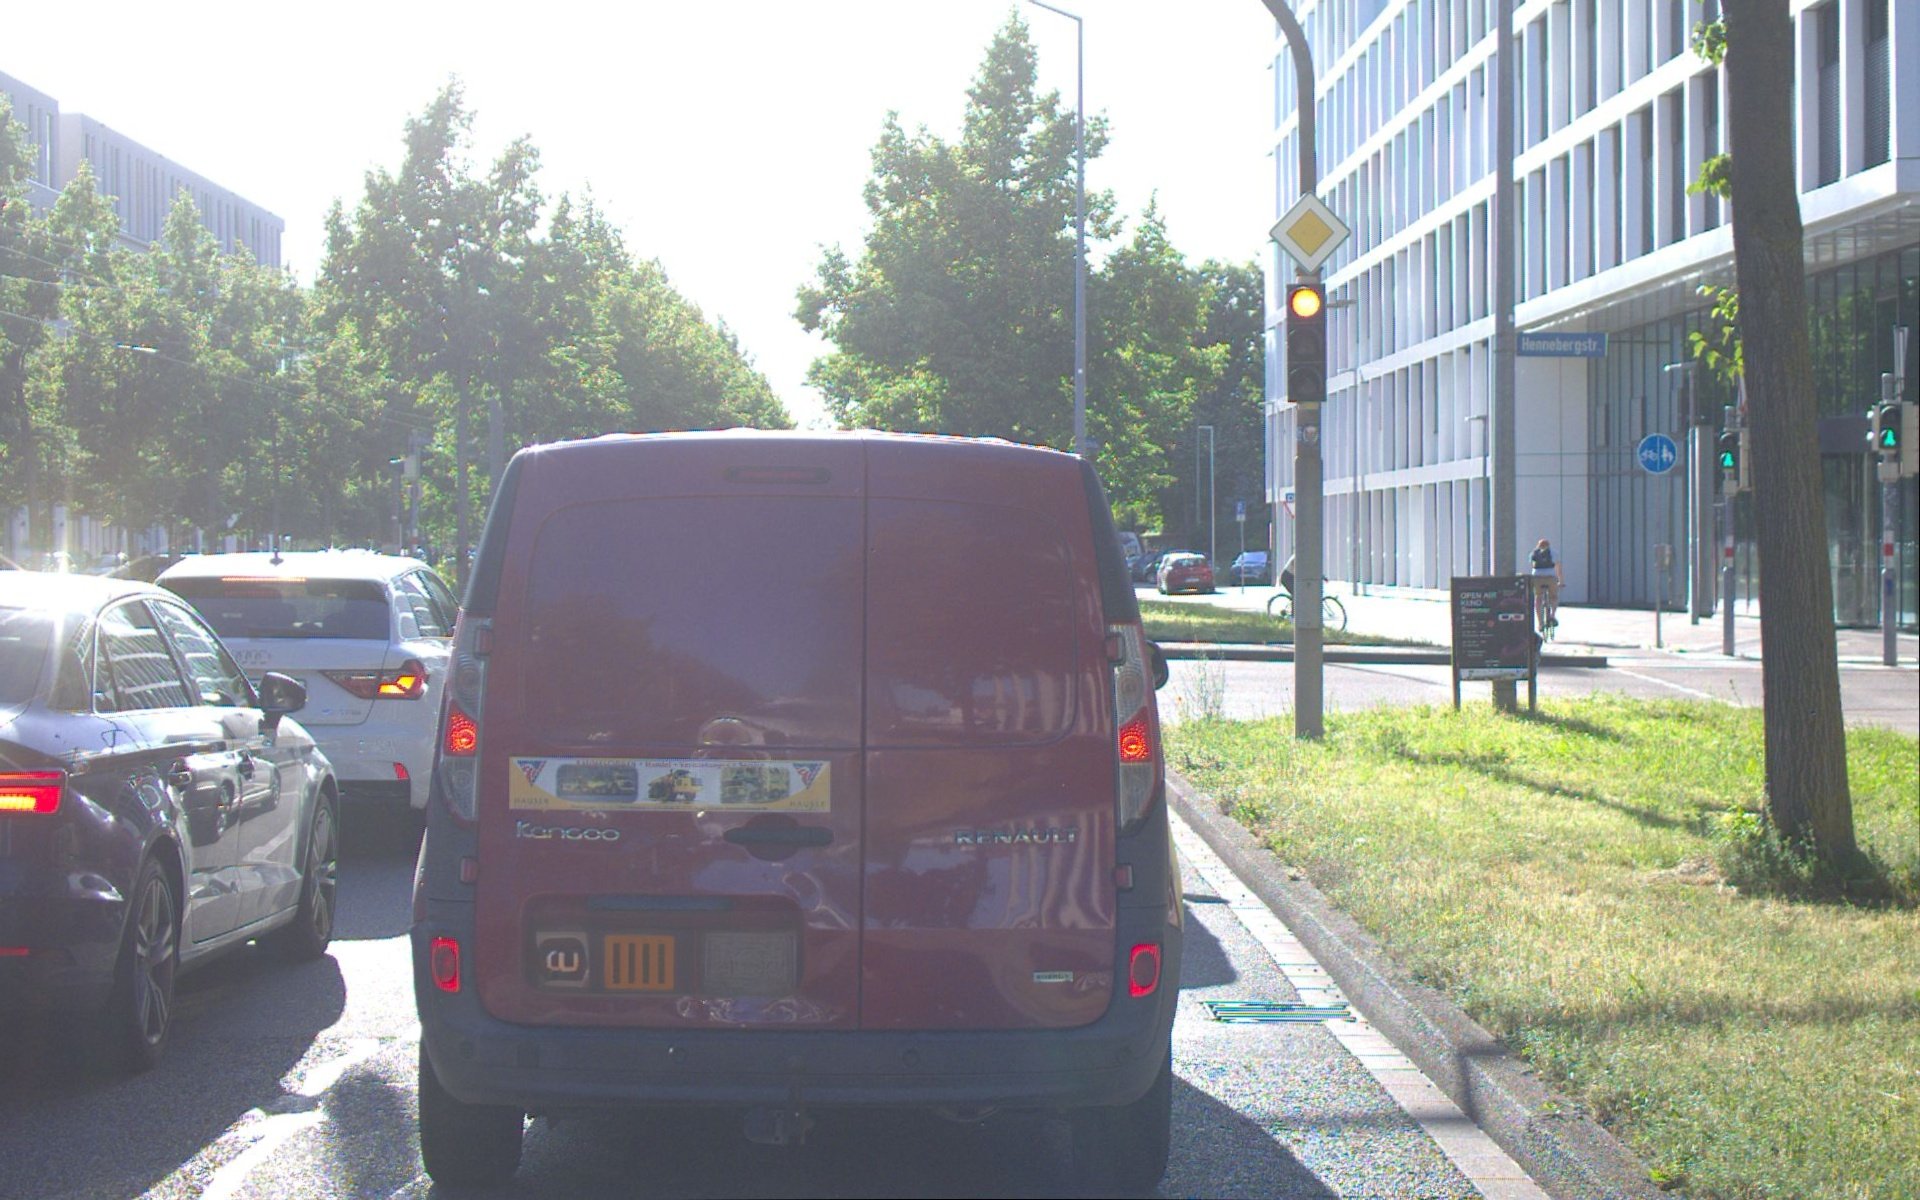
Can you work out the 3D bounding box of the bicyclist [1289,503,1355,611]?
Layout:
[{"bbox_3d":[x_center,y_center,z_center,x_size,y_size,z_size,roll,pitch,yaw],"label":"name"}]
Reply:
[{"bbox_3d":[6.559,-0.778,62.299,1.000,1.940,0.817,0,1,23],"label":"bicyclist"}]

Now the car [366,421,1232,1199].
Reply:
[{"bbox_3d":[-0.369,0.470,9.333,1.842,1.774,4.000,0,1,-1],"label":"car"}]

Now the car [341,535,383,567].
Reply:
[{"bbox_3d":[-37.767,-3.106,217.242,1.993,2.007,4.000,0,1,-1],"label":"car"}]

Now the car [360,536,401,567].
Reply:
[{"bbox_3d":[-37.557,-3.164,222.866,1.993,2.007,4.000,0,1,-1],"label":"car"}]

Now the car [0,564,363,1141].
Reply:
[{"bbox_3d":[-3.160,0.617,10.877,1.842,1.421,4.339,0,1,-1],"label":"car"}]

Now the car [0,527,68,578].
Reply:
[{"bbox_3d":[-36.902,-1.909,136.497,1.993,2.007,4.000,0,1,-1],"label":"car"}]

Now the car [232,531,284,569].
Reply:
[{"bbox_3d":[-37.233,-2.678,182.410,1.993,2.007,4.000,0,1,-1],"label":"car"}]

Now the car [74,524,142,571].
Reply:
[{"bbox_3d":[-36.983,-2.281,149.323,1.993,2.007,4.000,0,1,-1],"label":"car"}]

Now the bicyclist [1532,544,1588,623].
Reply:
[{"bbox_3d":[9.720,-0.272,55.717,0.818,1.270,0.683,0,1,2],"label":"bicyclist"}]

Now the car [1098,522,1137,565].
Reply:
[{"bbox_3d":[9.064,-3.264,198.328,1.993,2.488,4.987,0,1,-1],"label":"car"}]

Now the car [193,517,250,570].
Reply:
[{"bbox_3d":[-36.140,-2.767,168.351,1.993,2.598,4.000,0,1,-1],"label":"car"}]

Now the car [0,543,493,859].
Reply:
[{"bbox_3d":[-3.534,0.430,17.588,1.803,1.421,3.901,0,1,-1],"label":"car"}]

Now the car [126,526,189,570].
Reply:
[{"bbox_3d":[-36.971,-2.387,158.424,1.993,2.007,4.000,0,1,-1],"label":"car"}]

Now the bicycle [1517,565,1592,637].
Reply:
[{"bbox_3d":[9.617,-0.001,55.699,0.818,1.111,2.846,0,1,2],"label":"bicycle"}]

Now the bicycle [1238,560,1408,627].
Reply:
[{"bbox_3d":[6.575,-0.122,62.294,2.945,1.186,0.817,0,1,23],"label":"bicycle"}]

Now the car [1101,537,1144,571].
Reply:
[{"bbox_3d":[8.480,-2.431,179.819,1.993,1.776,4.000,0,1,-1],"label":"car"}]

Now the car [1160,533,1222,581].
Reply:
[{"bbox_3d":[8.574,-1.623,128.005,1.993,1.776,4.000,0,1,-1],"label":"car"}]

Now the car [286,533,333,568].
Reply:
[{"bbox_3d":[-37.685,-2.892,199.224,1.993,2.007,4.000,0,1,-1],"label":"car"}]
